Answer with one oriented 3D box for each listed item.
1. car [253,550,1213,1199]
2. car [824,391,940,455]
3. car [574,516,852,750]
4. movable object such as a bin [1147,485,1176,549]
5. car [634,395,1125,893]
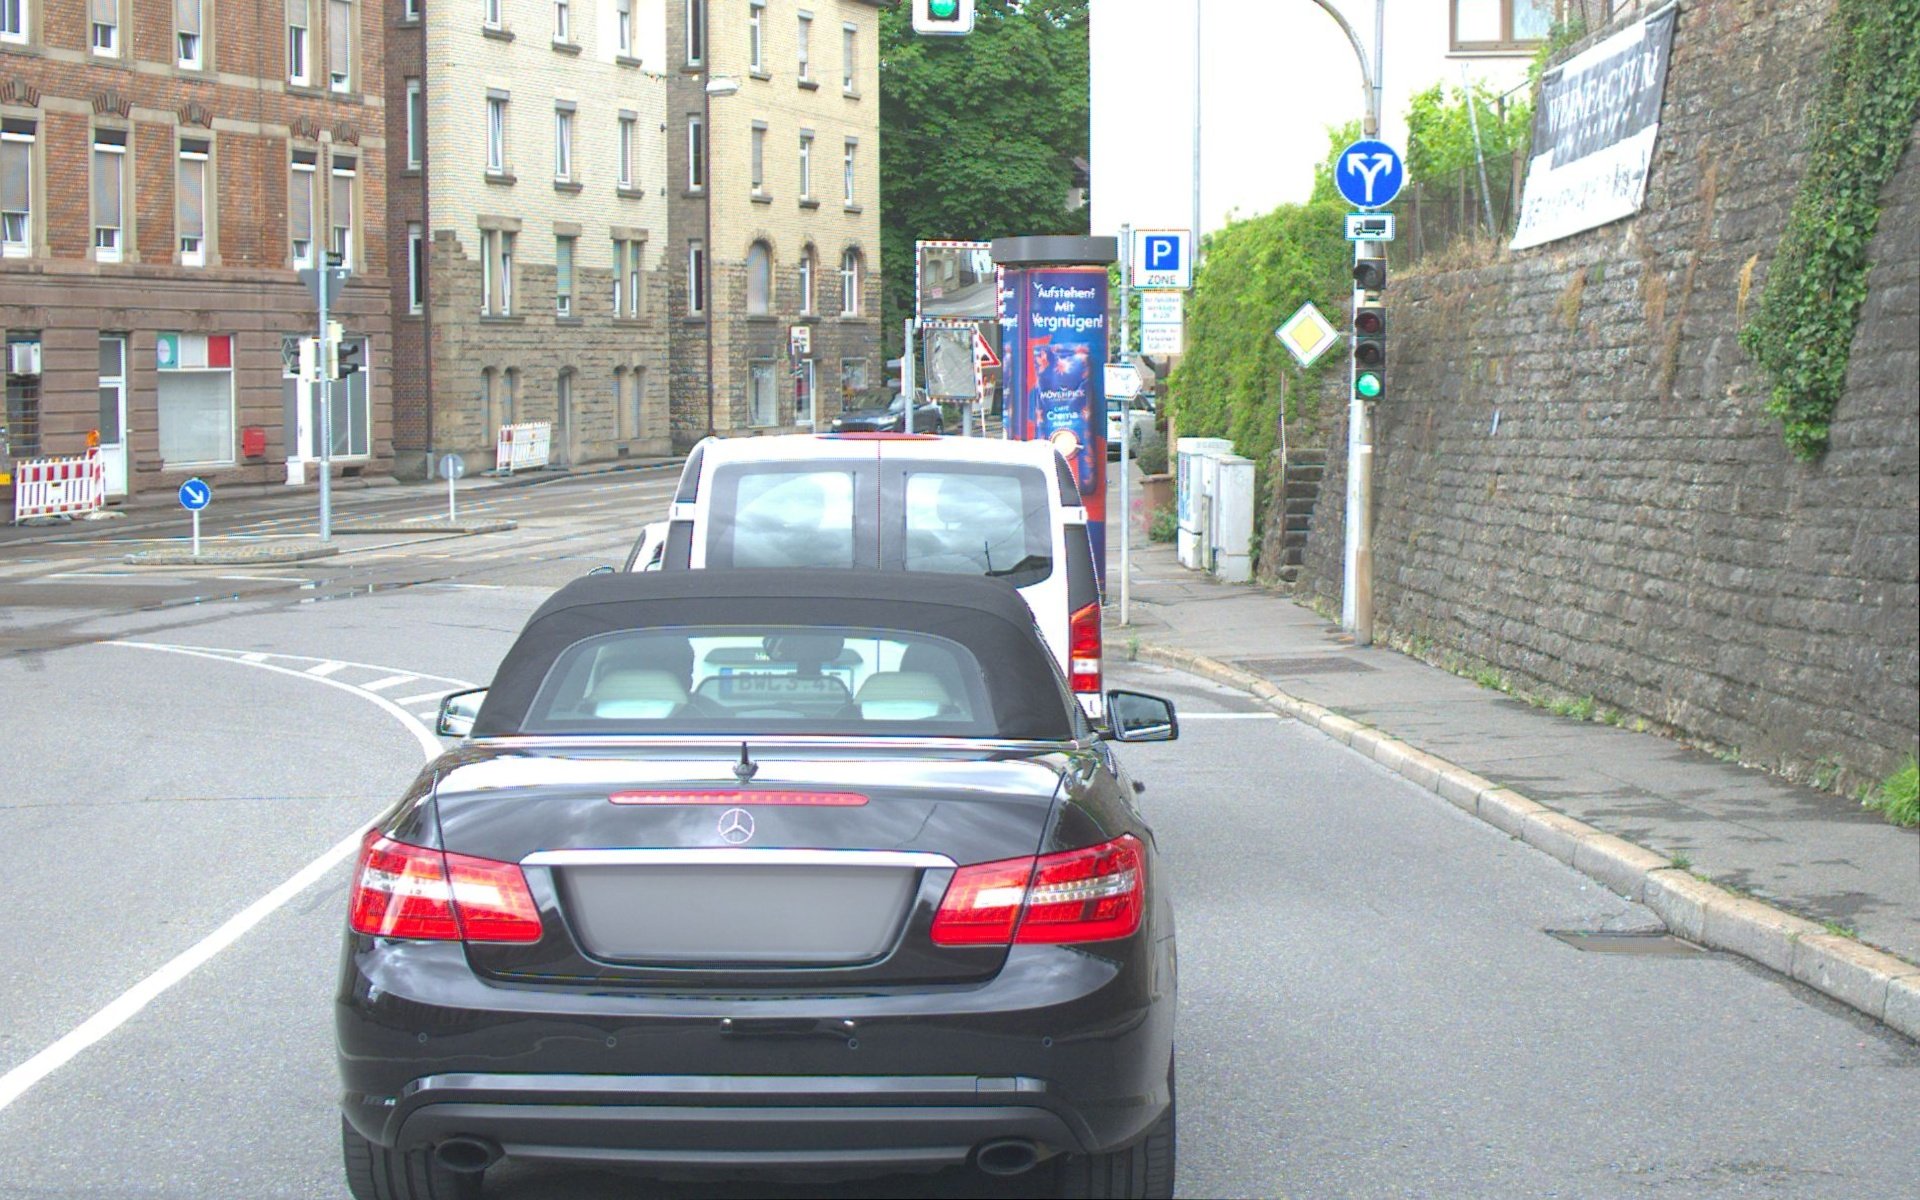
[{"bbox_3d":[-0.444,0.616,8.528,1.761,1.404,4.399,0,2,-1],"label":"car"},{"bbox_3d":[-1.999,-4.633,89.561,1.995,1.509,4.284,0,5,13],"label":"car"},{"bbox_3d":[-1.631,0.162,23.807,1.681,1.461,3.919,0,2,-1],"label":"car"},{"bbox_3d":[2.874,-1.188,49.063,0.343,0.908,0.495,0,2,-6],"label":"movable object such as a bin"},{"bbox_3d":[-0.339,0.103,15.637,1.891,1.922,4.646,0,2,-1],"label":"car"}]
